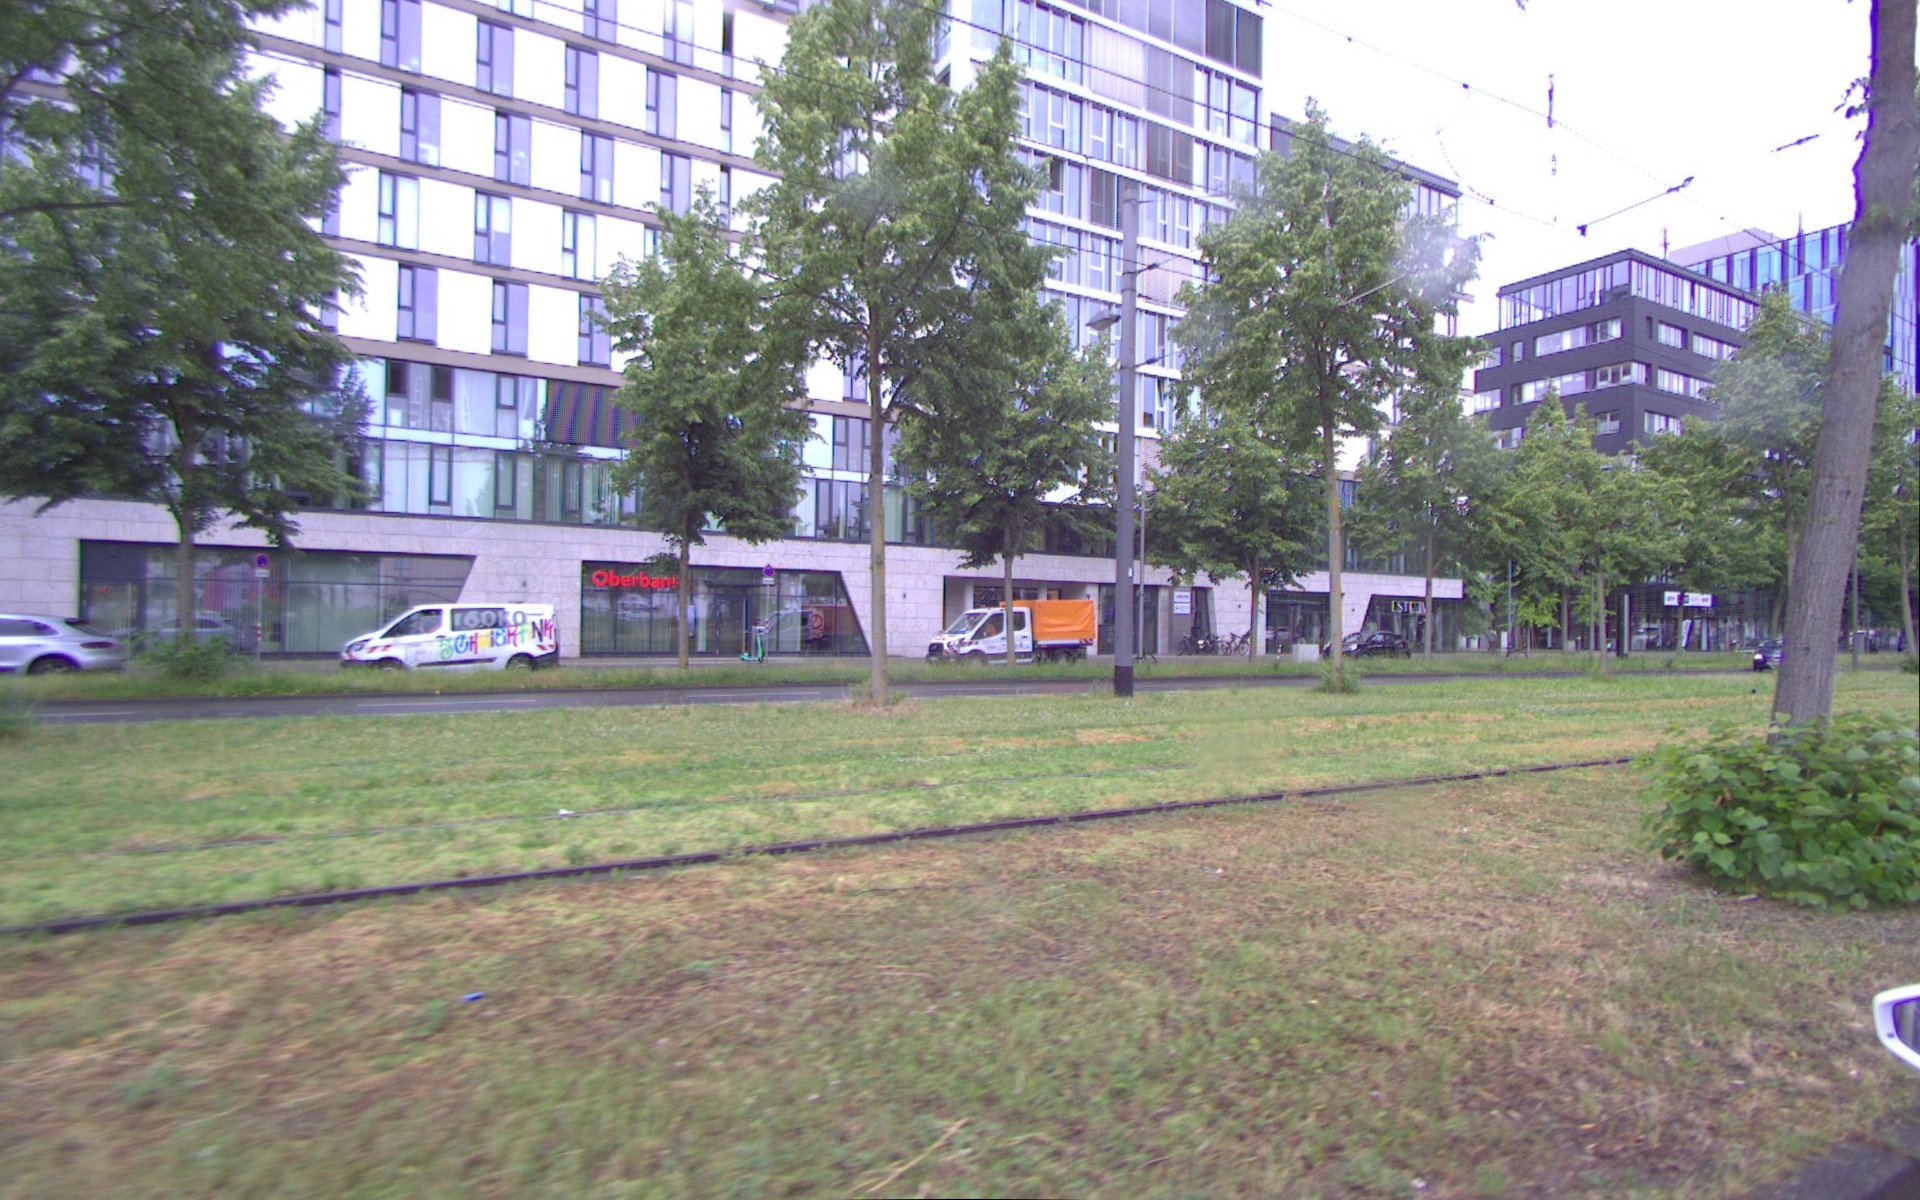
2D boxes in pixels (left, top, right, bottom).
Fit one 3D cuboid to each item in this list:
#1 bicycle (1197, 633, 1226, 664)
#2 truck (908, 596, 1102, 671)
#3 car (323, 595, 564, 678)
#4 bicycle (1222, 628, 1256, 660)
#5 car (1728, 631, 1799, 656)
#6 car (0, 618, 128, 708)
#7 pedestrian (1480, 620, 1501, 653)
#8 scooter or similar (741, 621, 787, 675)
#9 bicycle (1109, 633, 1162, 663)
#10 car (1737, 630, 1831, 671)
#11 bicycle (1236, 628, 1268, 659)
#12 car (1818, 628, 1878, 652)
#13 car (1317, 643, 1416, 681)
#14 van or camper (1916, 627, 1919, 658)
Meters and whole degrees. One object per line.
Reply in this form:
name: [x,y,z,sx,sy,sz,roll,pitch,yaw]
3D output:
bicycle: [12.590,2.414,50.255,0.540,1.502,1.425,1,0,-30]
truck: [1.572,1.107,33.758,6.235,2.322,2.415,1,-1,-30]
car: [-12.680,0.884,24.892,5.104,1.876,1.984,1,-1,-31]
bicycle: [14.184,2.226,51.081,0.673,1.559,1.695,1,0,-30]
car: [47.526,2.538,59.424,3.953,1.397,1.984,1,-1,-30]
car: [-19.949,1.245,20.364,4.412,1.735,2.134,1,-1,-31]
pedestrian: [32.997,2.273,62.444,0.846,2.007,0.791,1,-1,-30]
scooter or similar: [-7.073,1.700,36.178,0.876,1.849,2.112,1,-1,-33]
bicycle: [5.880,1.609,33.582,1.734,0.957,0.597,1,-1,-27]
car: [35.727,2.183,43.550,3.655,1.678,1.985,1,-1,-30]
bicycle: [15.088,2.251,51.919,0.600,1.559,1.560,1,0,-30]
car: [58.200,2.623,65.812,4.191,1.468,1.694,1,-1,-30]
car: [16.914,2.536,41.794,3.942,1.484,1.846,1,-1,-31]
van or camper: [75.259,3.263,76.211,5.781,2.346,2.422,1,-1,-30]
